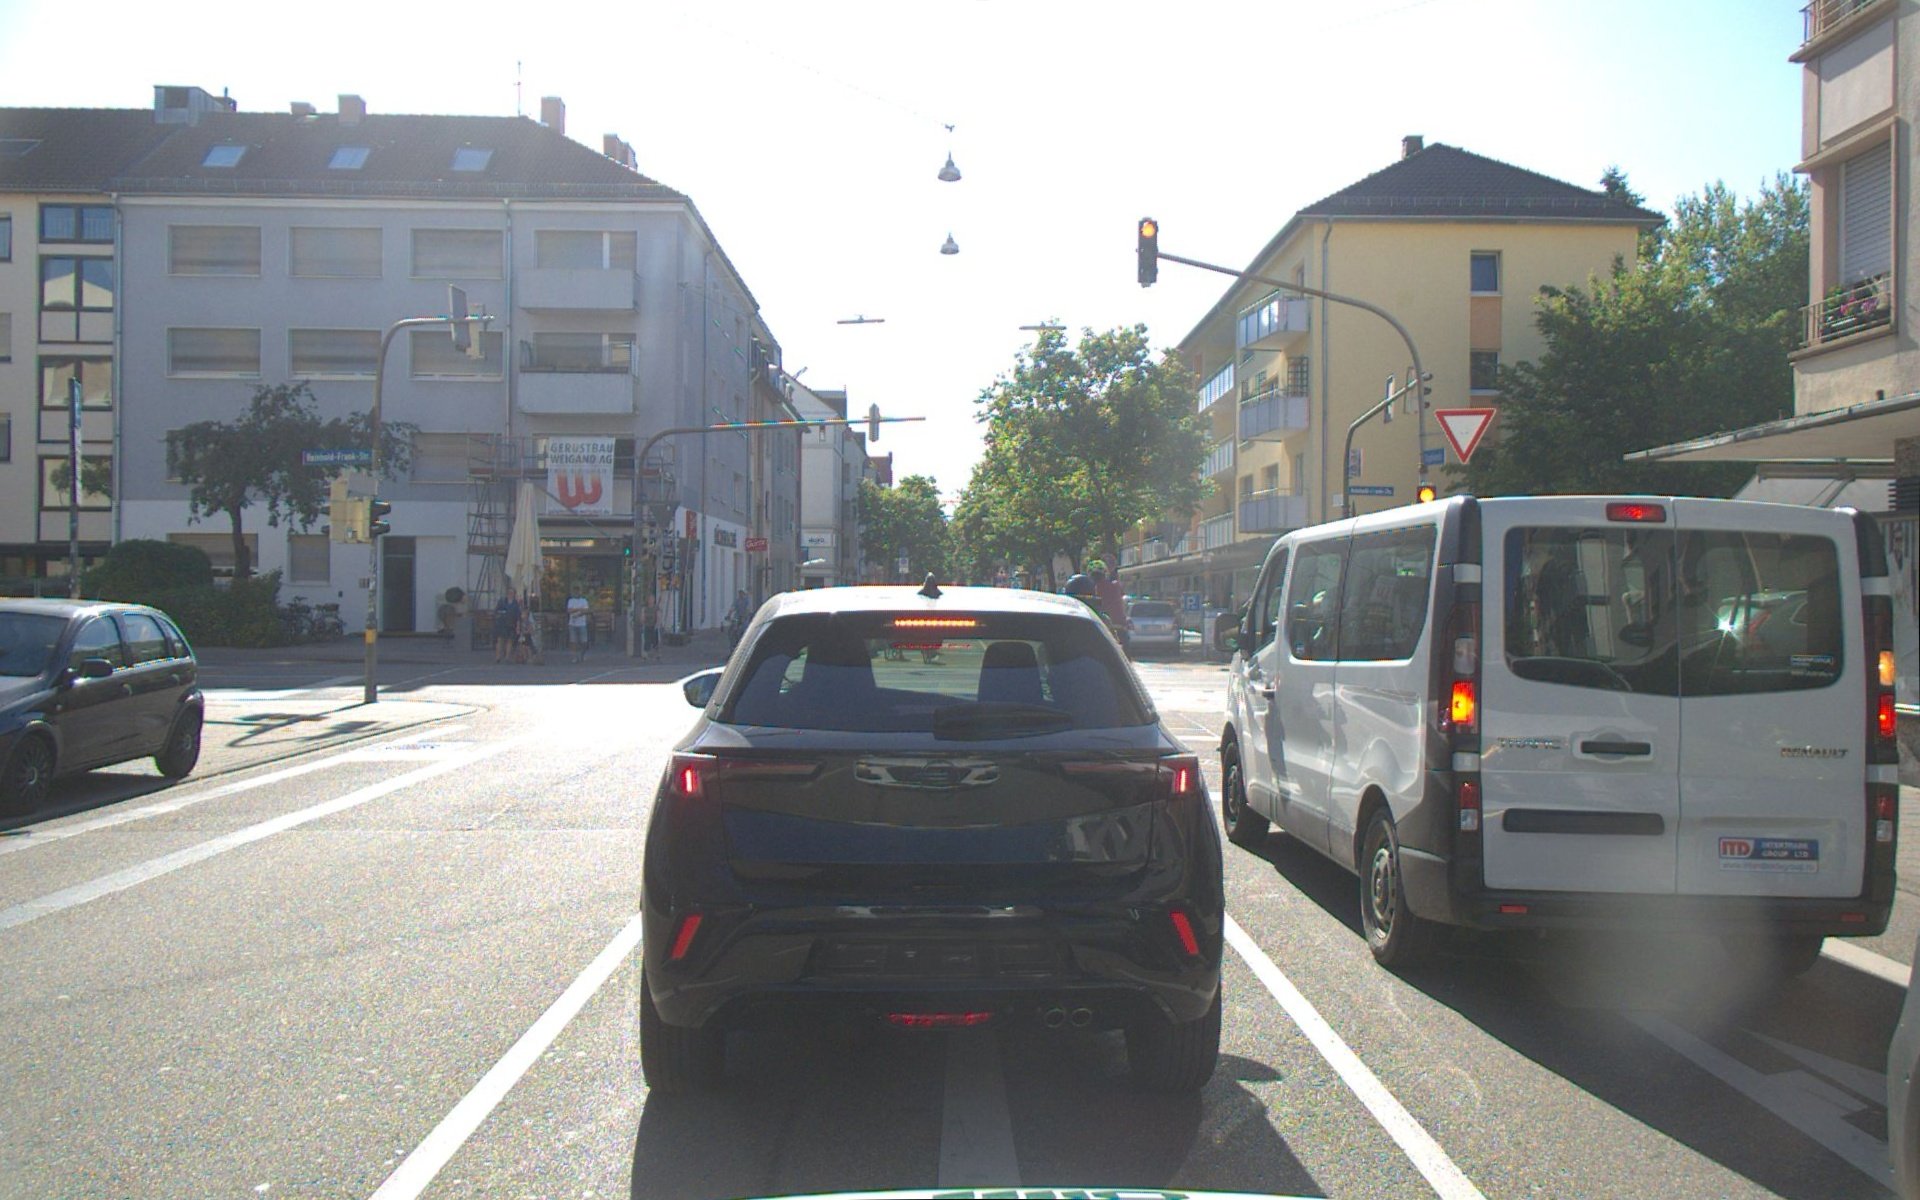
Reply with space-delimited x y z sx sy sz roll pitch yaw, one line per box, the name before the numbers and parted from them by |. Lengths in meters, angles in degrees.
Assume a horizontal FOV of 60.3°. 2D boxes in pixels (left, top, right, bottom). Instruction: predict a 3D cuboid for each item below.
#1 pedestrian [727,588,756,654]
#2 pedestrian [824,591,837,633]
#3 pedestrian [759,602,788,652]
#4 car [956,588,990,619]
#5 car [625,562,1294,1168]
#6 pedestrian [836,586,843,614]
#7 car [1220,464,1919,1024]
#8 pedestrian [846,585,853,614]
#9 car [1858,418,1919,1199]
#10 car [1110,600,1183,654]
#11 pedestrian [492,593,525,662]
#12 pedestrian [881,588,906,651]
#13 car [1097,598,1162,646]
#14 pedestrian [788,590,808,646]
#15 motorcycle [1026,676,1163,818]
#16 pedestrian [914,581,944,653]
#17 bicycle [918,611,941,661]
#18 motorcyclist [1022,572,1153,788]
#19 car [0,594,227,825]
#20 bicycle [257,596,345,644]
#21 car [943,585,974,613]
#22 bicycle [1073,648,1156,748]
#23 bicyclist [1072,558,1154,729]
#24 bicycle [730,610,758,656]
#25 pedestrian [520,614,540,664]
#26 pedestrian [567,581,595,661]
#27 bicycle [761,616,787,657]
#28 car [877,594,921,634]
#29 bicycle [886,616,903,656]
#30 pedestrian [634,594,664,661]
pedestrian | -5.681 0.546 43.035 0.692 1.707 0.802 0 0 -3
pedestrian | -5.347 0.489 68.481 0.478 1.719 0.588 0 0 -1
pedestrian | -4.882 0.702 43.409 0.692 1.275 0.802 0 0 -3
car | 0.732 0.179 95.312 1.863 1.758 4.073 0 0 0
car | -0.079 0.677 6.300 1.735 1.557 3.998 0 0 -3
pedestrian | -7.274 -0.023 100.058 0.394 1.704 0.417 0 0 -1
car | 2.740 0.523 8.509 1.953 2.014 4.894 1 0 -1
pedestrian | -6.681 -0.023 99.792 0.394 1.704 0.417 0 0 -1
car | 2.995 0.587 1.207 1.799 1.901 4.994 0 0 -3
car | 5.283 0.736 47.208 1.601 1.458 3.956 0 0 -1
pedestrian | -10.166 0.610 37.258 0.573 1.547 0.649 0 0 -4
pedestrian | -1.762 0.510 43.875 0.666 1.634 0.762 0 0 -3
car | 5.285 0.665 51.995 1.601 1.458 3.999 0 0 -1
pedestrian | -5.027 0.553 51.388 0.558 1.719 0.588 0 0 -1
motorcycle | 0.946 1.035 12.096 0.808 0.860 1.884 0 0 -1
pedestrian | -0.762 0.412 40.597 0.692 1.731 0.802 0 0 -3
bicycle | -0.763 0.866 40.681 0.511 1.167 2.169 0 0 -3
motorcyclist | 0.930 0.569 12.350 0.846 1.528 1.159 0 0 -2
car | -7.081 0.710 12.339 1.584 1.450 3.709 2 0 -1
bicycle | -16.913 0.503 42.455 2.067 1.193 0.735 0 0 -25
car | -0.091 -0.084 104.713 1.863 1.758 4.000 0 0 0
bicycle | 1.607 1.004 17.552 0.565 0.920 2.300 0 0 -3
bicyclist | 1.613 0.446 17.577 0.675 1.742 1.413 0 0 -3
bicycle | -5.662 0.852 43.433 0.511 1.167 2.282 0 0 -3
pedestrian | -9.678 0.881 37.267 0.348 1.111 0.461 0 0 -4
pedestrian | -8.626 0.478 37.647 0.550 1.806 0.582 1 0 -9
bicycle | -4.886 0.950 43.538 0.511 1.010 2.338 0 0 -3
car | -2.765 0.623 75.872 1.787 1.758 4.000 0 0 1
bicycle | -1.761 0.956 44.125 0.434 1.010 2.068 0 0 -3
pedestrian | -7.274 0.630 38.705 0.605 1.547 0.724 0 0 -4
